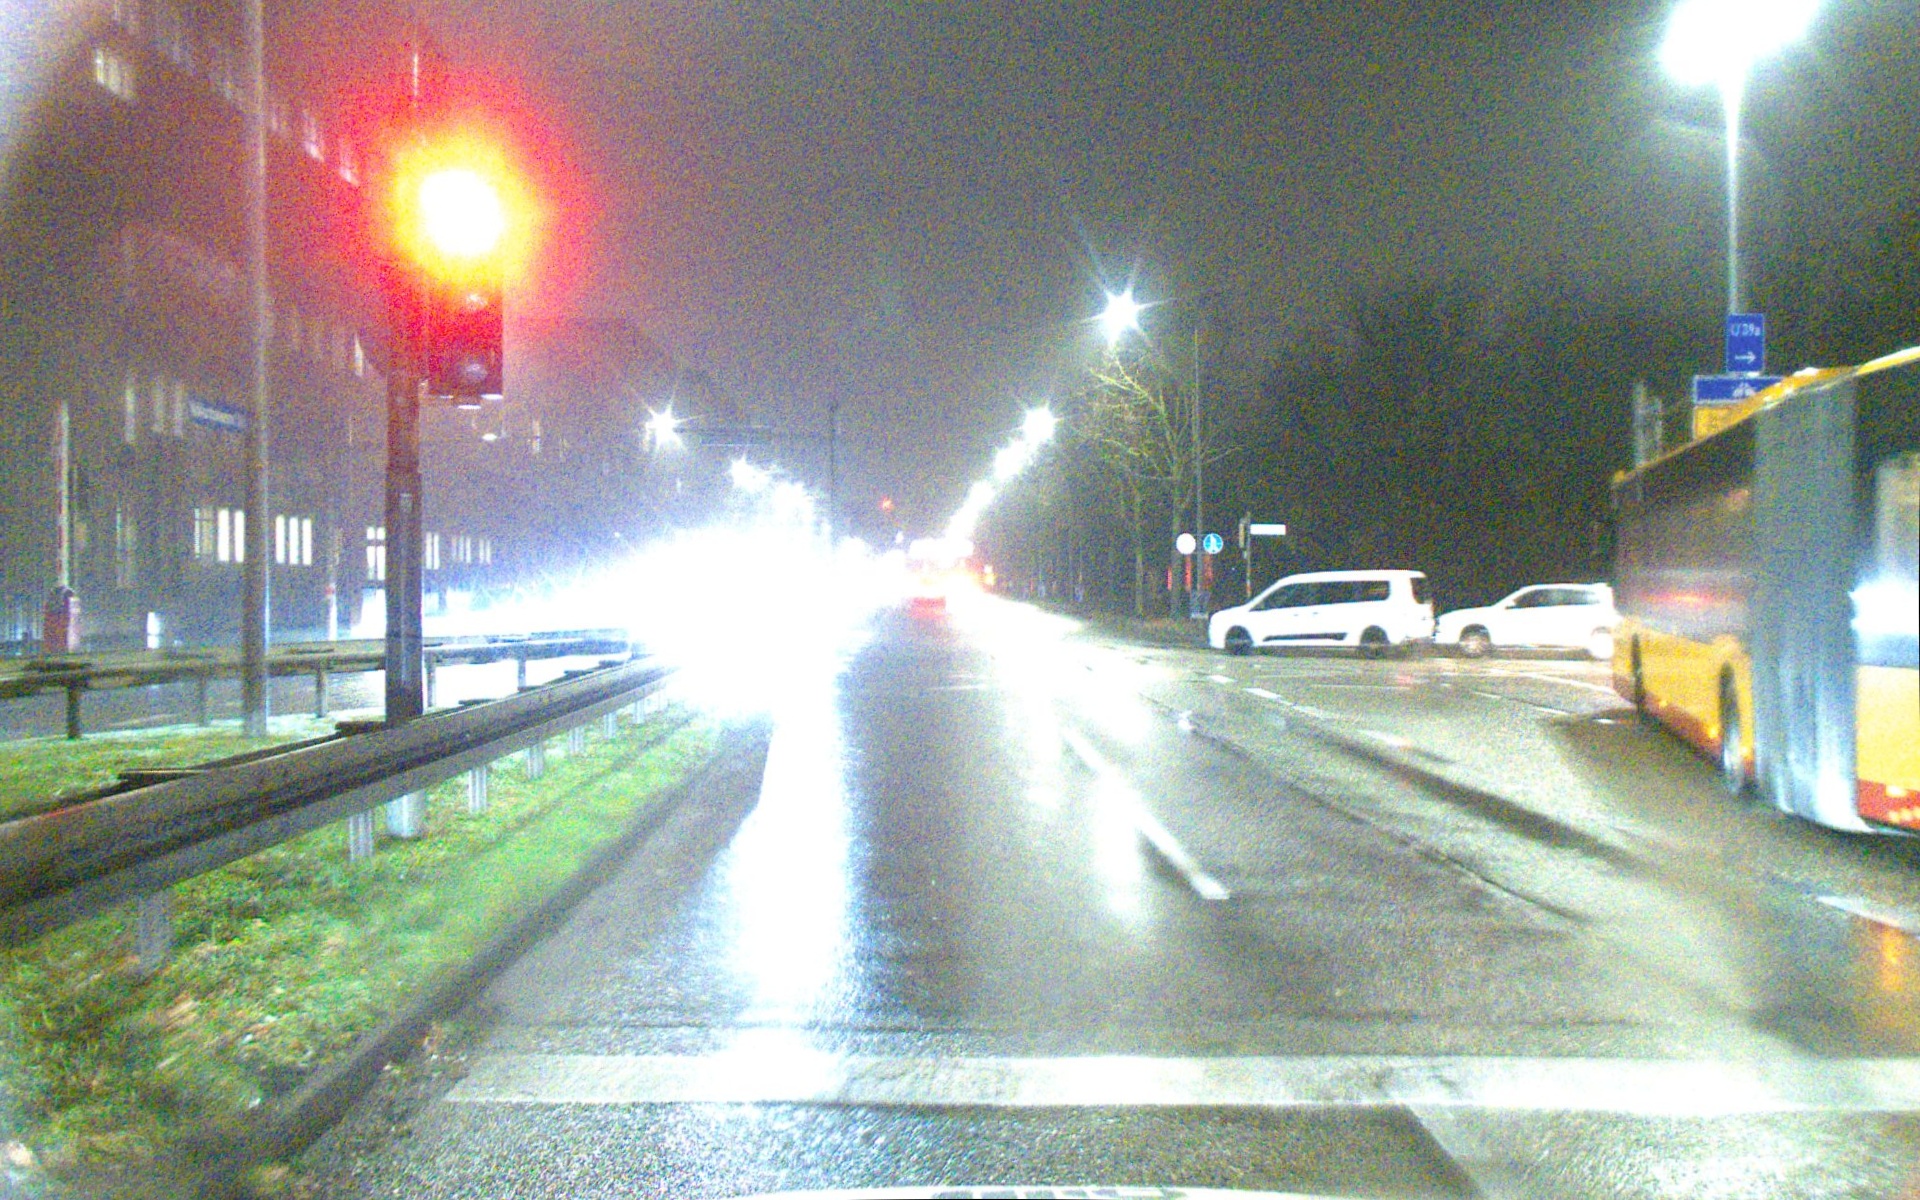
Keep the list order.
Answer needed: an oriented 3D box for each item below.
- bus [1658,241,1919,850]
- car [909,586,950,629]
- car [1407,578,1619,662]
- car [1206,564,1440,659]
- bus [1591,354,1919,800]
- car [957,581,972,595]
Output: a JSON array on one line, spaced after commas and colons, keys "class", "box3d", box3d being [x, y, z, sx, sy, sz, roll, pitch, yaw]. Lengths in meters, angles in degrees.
[{"class": "bus", "box3d": [6.292, -0.263, 7.471, 2.711, 3.178, 9.767, 1, 0, 4]}, {"class": "car", "box3d": [-1.625, 0.383, 88.092, 2.091, 2.182, 4.927, 1, 0, -1]}, {"class": "car", "box3d": [12.132, 0.425, 36.435, 4.321, 1.708, 1.797, 1, 0, 19]}, {"class": "car", "box3d": [7.716, 0.223, 35.287, 4.527, 1.907, 1.793, 1, 0, 31]}, {"class": "bus", "box3d": [8.084, -0.180, 16.507, 2.711, 3.178, 9.767, 1, 0, 18]}, {"class": "car", "box3d": [0.603, -1.540, 220.490, 1.953, 1.790, 3.999, 1, 0, -1]}]
